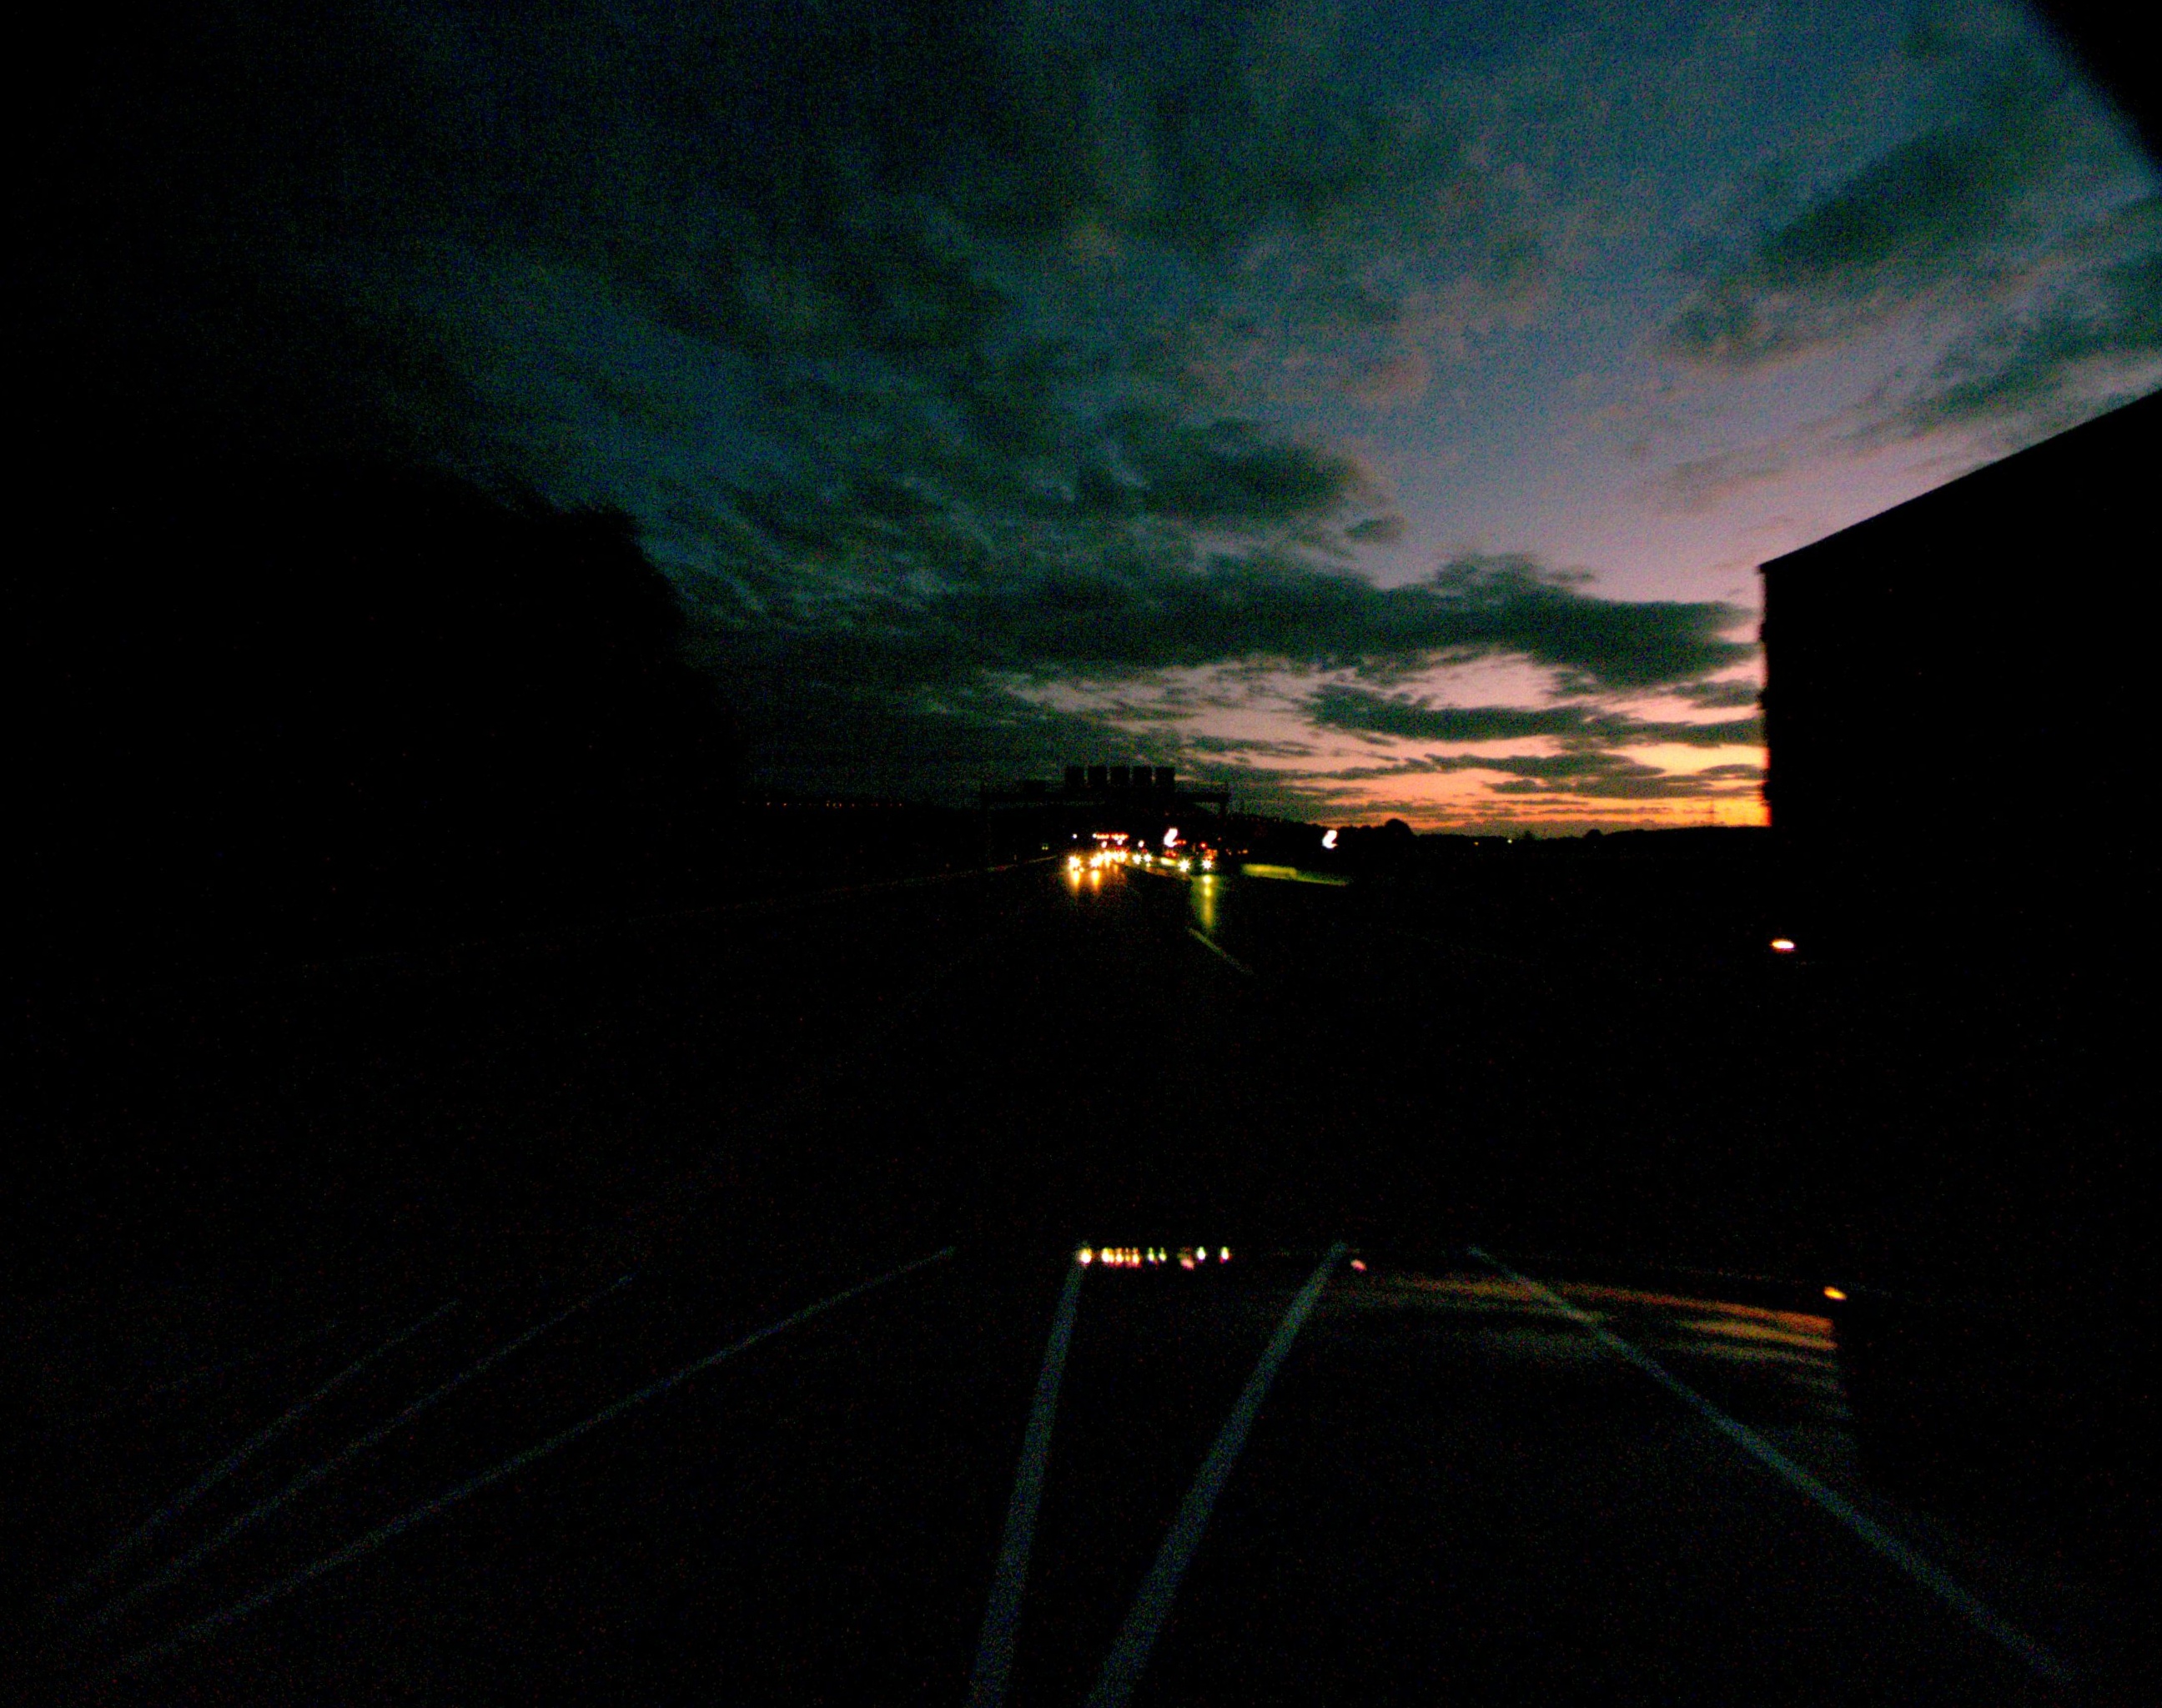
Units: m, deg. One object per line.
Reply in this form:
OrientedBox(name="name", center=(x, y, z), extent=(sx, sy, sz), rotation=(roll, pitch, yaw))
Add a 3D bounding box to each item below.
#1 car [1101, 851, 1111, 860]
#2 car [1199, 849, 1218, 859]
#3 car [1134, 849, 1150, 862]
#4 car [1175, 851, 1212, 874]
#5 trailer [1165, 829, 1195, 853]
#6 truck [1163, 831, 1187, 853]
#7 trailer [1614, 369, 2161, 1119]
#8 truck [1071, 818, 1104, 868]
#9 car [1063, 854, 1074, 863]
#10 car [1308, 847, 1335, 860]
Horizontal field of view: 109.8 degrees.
OrientedBox(name="car", center=(4.639, 0.314, 141.639), extent=(1.802, 1.531, 4.159), rotation=(-2, 1, 0))
OrientedBox(name="car", center=(17.114, 0.030, 101.982), extent=(1.867, 1.197, 4.000), rotation=(-2, 1, 1))
OrientedBox(name="car", center=(8.395, 0.184, 104.728), extent=(1.819, 1.638, 4.856), rotation=(-2, 1, 0))
OrientedBox(name="car", center=(7.879, 0.550, 53.735), extent=(1.819, 1.429, 5.394), rotation=(-2, 1, 0))
OrientedBox(name="trailer", center=(25.646, -3.267, 198.223), extent=(5.317, 5.752, 19.211), rotation=(-2, 1, 1))
OrientedBox(name="truck", center=(25.779, -3.394, 209.378), extent=(5.332, 5.757, 9.643), rotation=(-2, 1, 1))
OrientedBox(name="trailer", center=(7.213, -0.572, 1.162), extent=(2.801, 4.062, 14.524), rotation=(-1, 1, 1))
OrientedBox(name="truck", center=(0.665, -0.990, 78.204), extent=(3.012, 4.570, 12.578), rotation=(-2, 0, 0))
OrientedBox(name="car", center=(-2.035, 0.750, 122.724), extent=(1.513, 1.247, 4.000), rotation=(-2, 1, 1))
OrientedBox(name="car", center=(23.521, -0.095, 74.473), extent=(1.540, 1.184, 3.609), rotation=(-2, 1, 1))
